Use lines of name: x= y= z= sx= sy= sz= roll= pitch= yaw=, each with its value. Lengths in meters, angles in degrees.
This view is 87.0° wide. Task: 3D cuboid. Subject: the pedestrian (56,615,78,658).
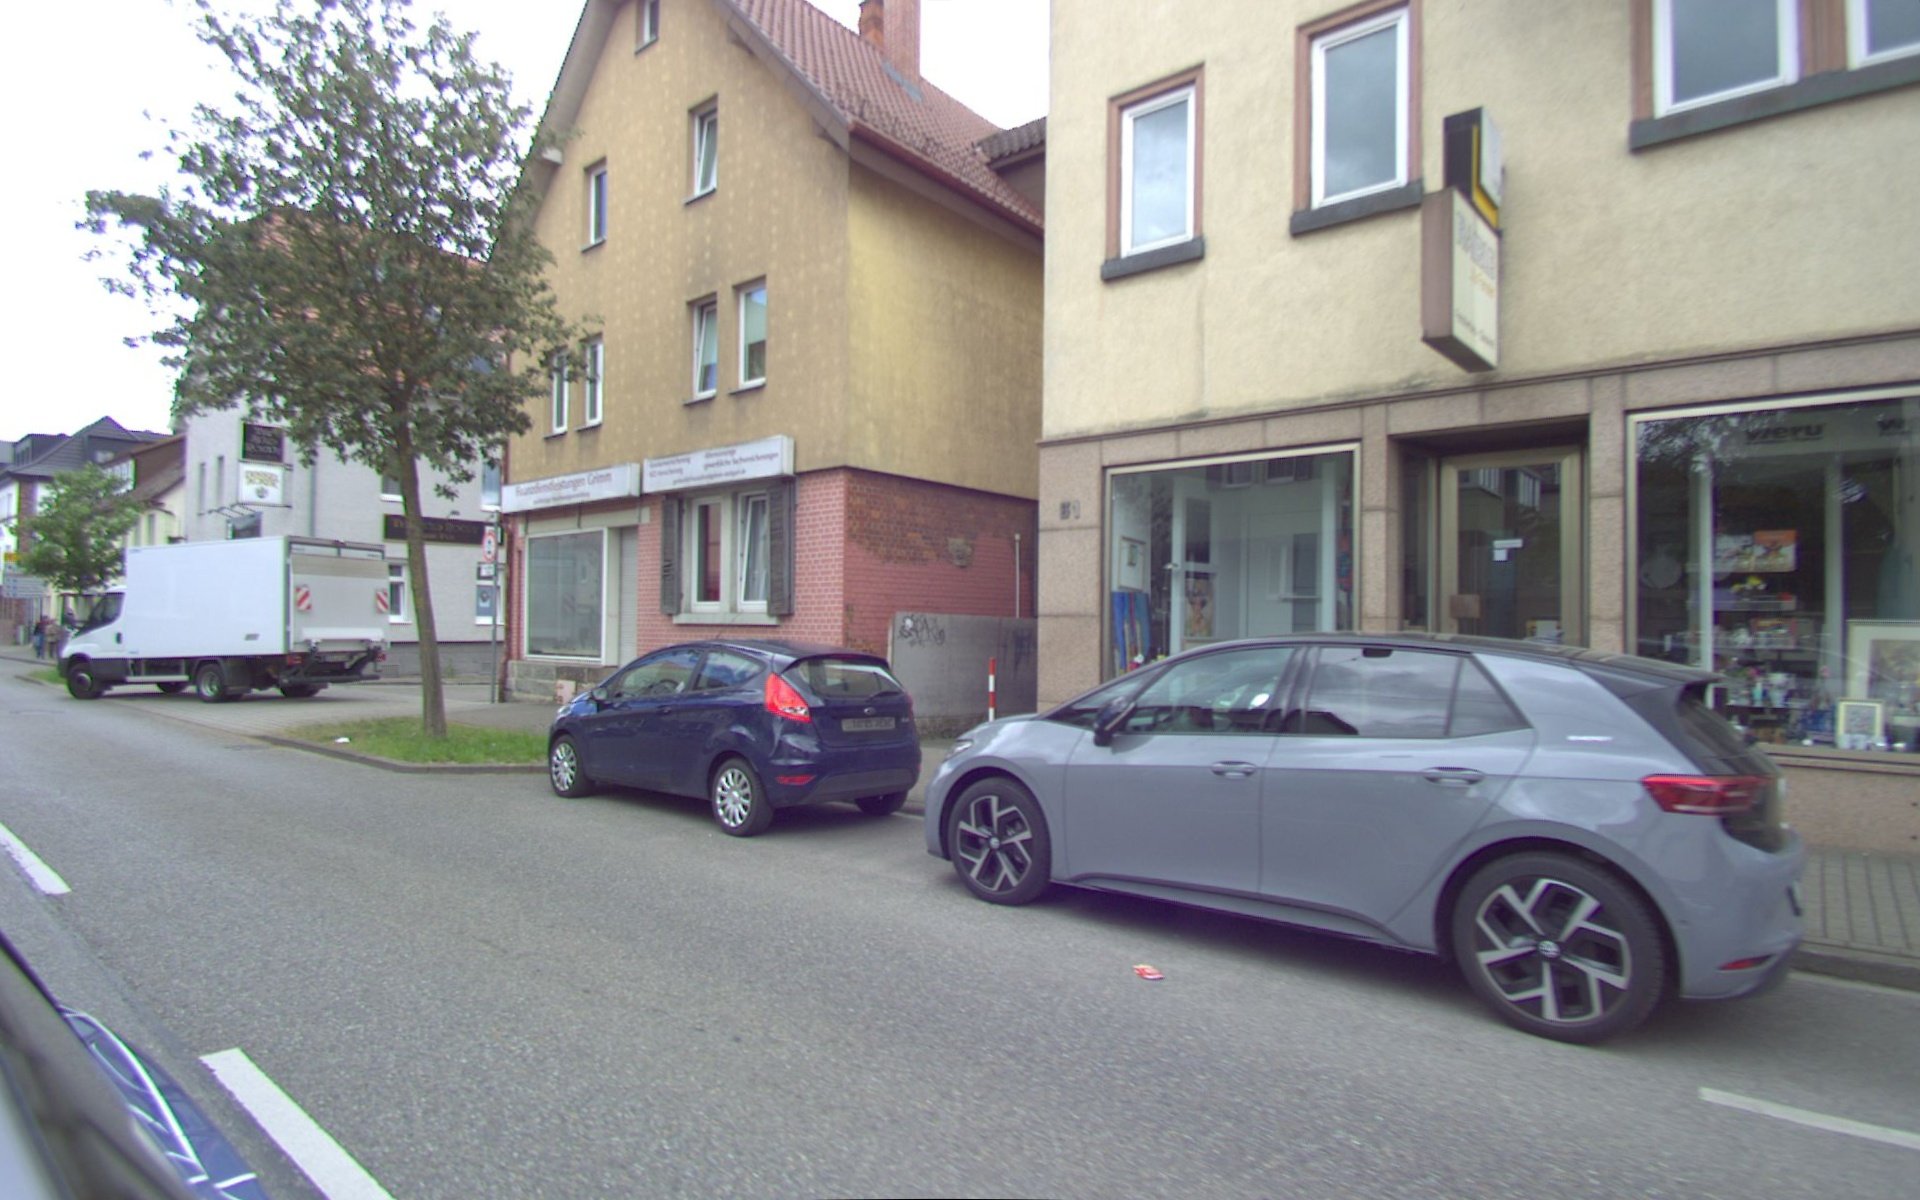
pedestrian: x=-36.641 y=1.484 z=41.523 sx=0.647 sy=1.750 sz=0.548 roll=-1 pitch=-3 yaw=40

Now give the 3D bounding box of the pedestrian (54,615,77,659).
pedestrian: x=-35.668 y=1.463 z=40.340 sx=0.647 sy=1.750 sz=0.548 roll=-1 pitch=-3 yaw=40

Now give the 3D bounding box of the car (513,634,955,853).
car: x=-2.086 y=1.052 z=8.751 sx=3.928 sy=1.435 sz=1.665 roll=-1 pitch=-4 yaw=40

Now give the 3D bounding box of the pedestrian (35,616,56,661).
pedestrian: x=-36.106 y=1.503 z=39.968 sx=0.647 sy=1.750 sz=0.491 roll=-1 pitch=-3 yaw=40

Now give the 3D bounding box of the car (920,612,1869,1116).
car: x=1.873 y=0.903 z=5.210 sx=4.112 sy=1.578 sz=1.692 roll=-1 pitch=-4 yaw=41

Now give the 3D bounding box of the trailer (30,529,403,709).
trailer: x=-15.086 y=0.343 z=20.555 sx=7.078 sy=3.244 sz=2.496 roll=0 pitch=-1 yaw=19

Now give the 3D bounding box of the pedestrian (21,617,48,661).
pedestrian: x=-36.907 y=1.551 z=40.365 sx=0.717 sy=1.750 sz=0.671 roll=-1 pitch=-3 yaw=40
